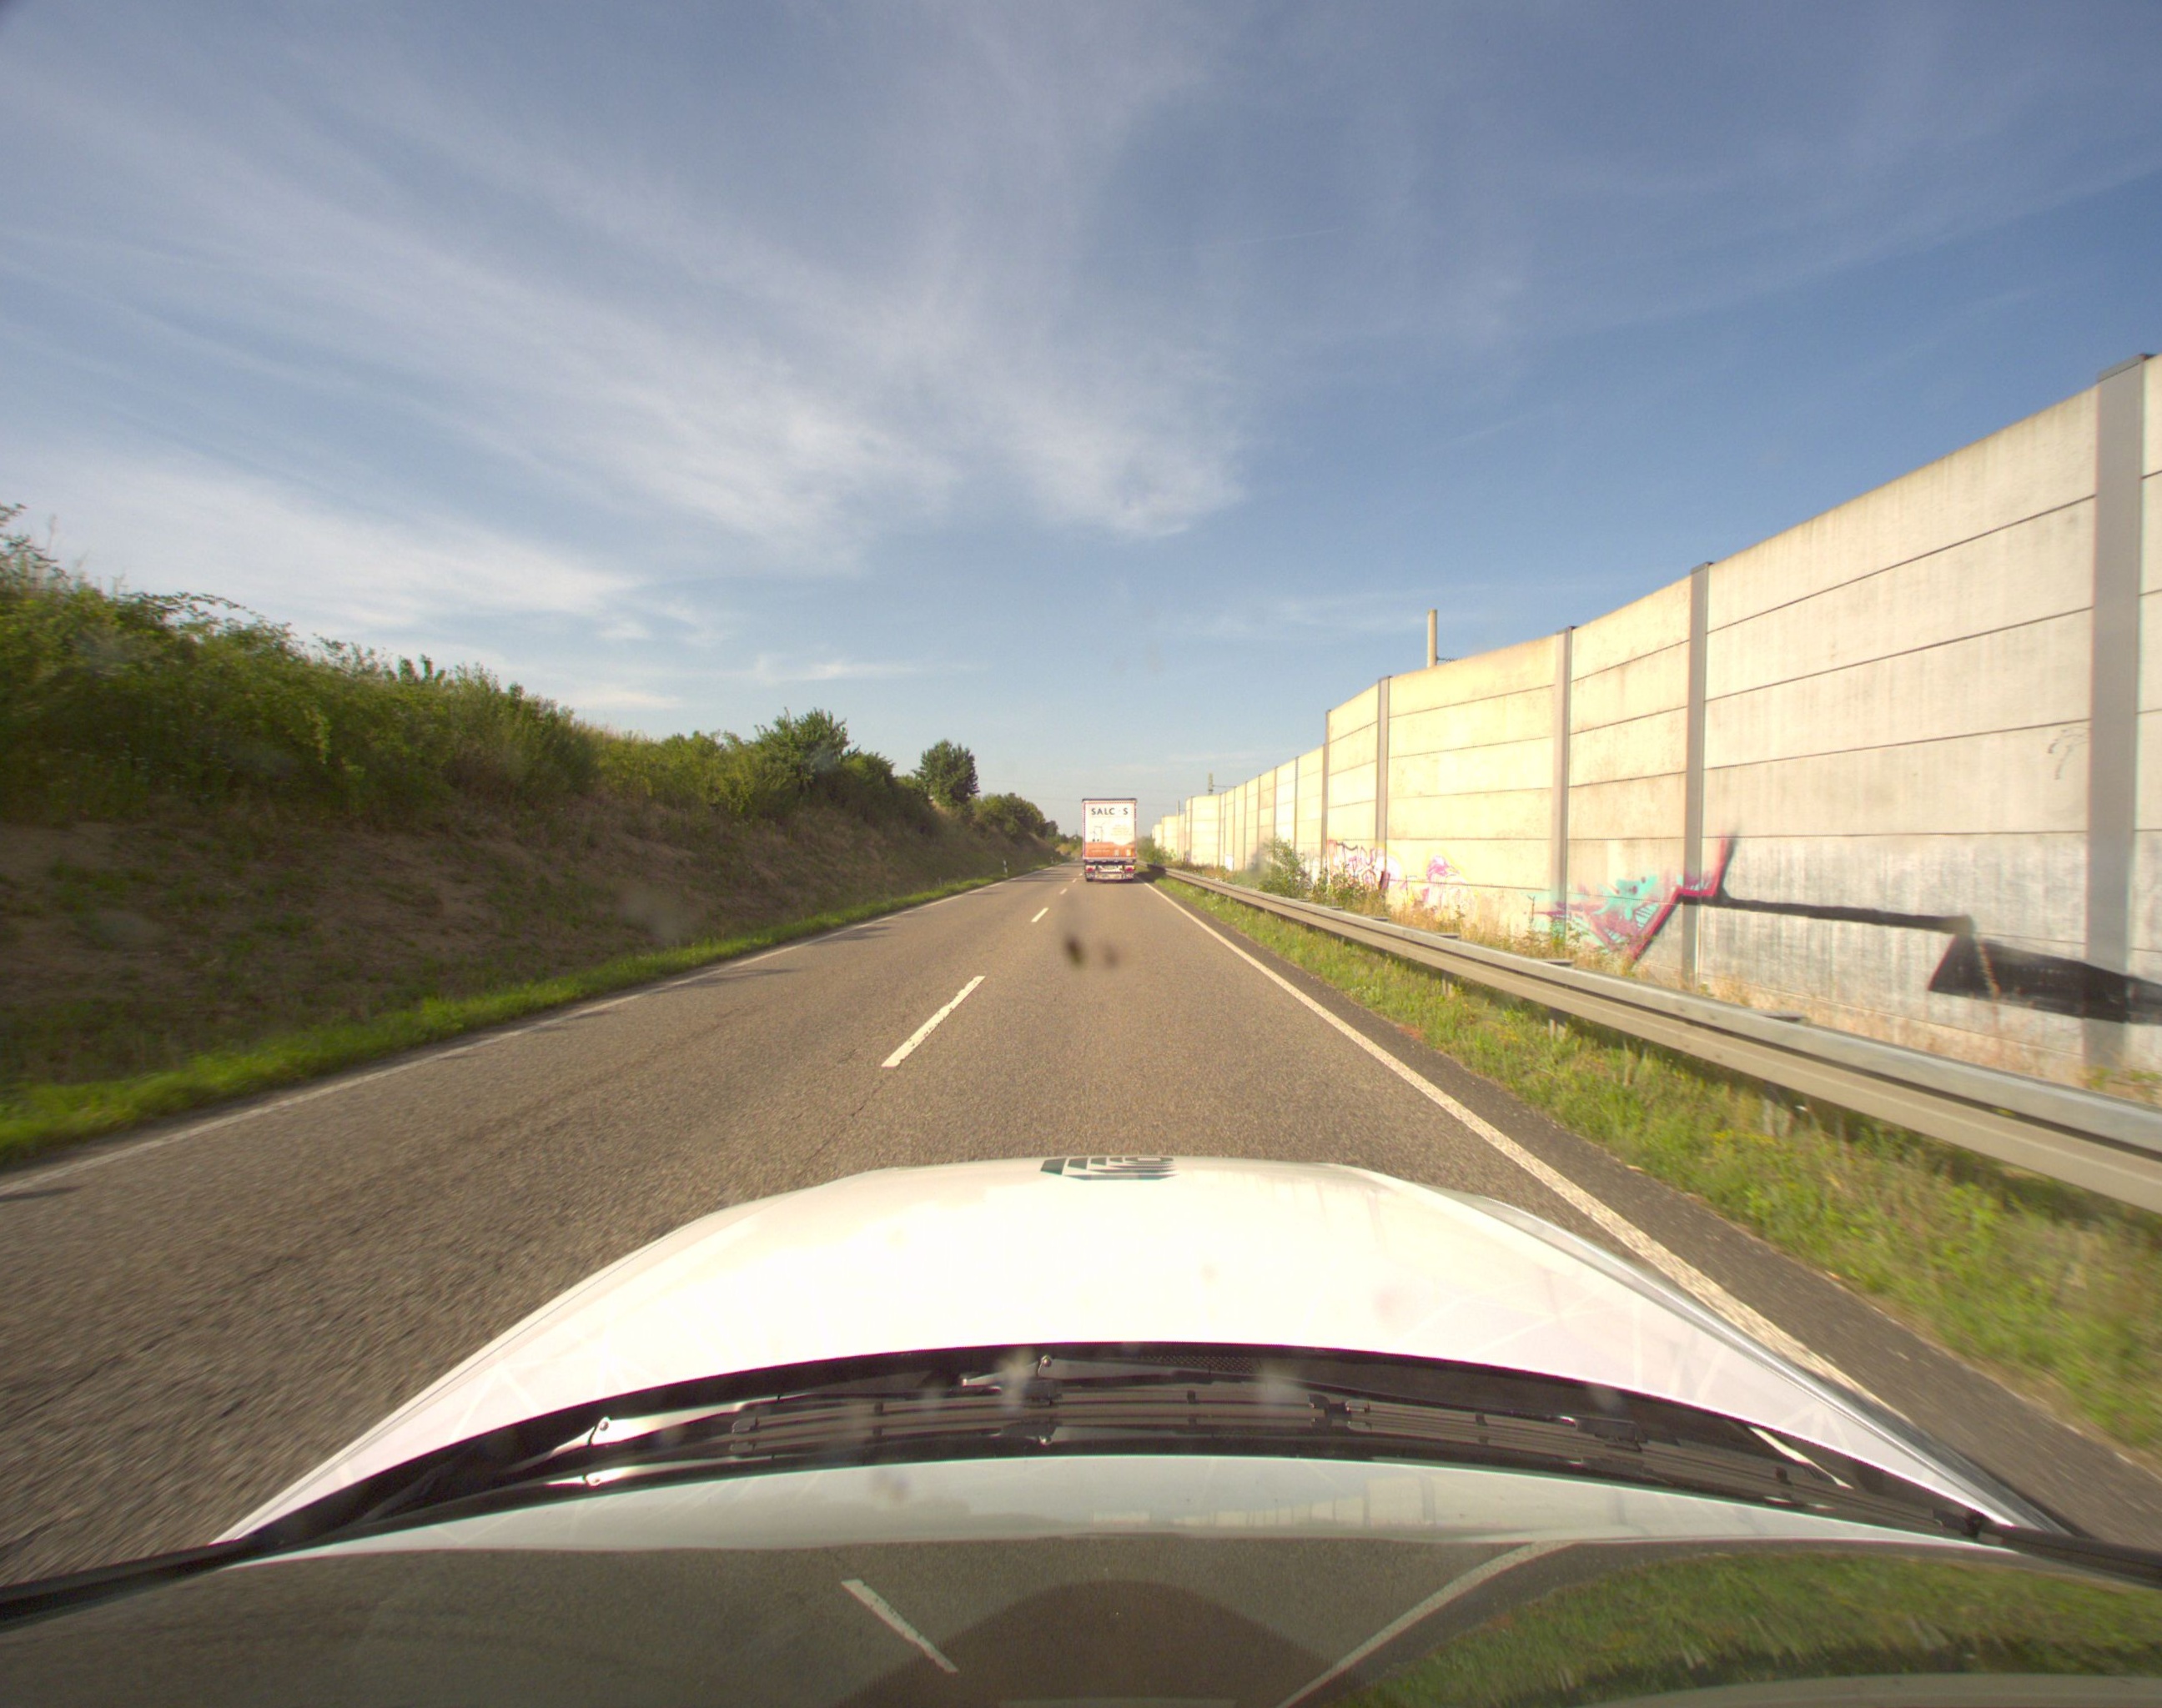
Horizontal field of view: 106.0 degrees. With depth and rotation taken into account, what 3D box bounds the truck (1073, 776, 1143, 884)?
[{"bbox_3d":[1.259,-1.195,44.569,3.280,5.089,12.036,-1,1,0],"label":"truck"}]
